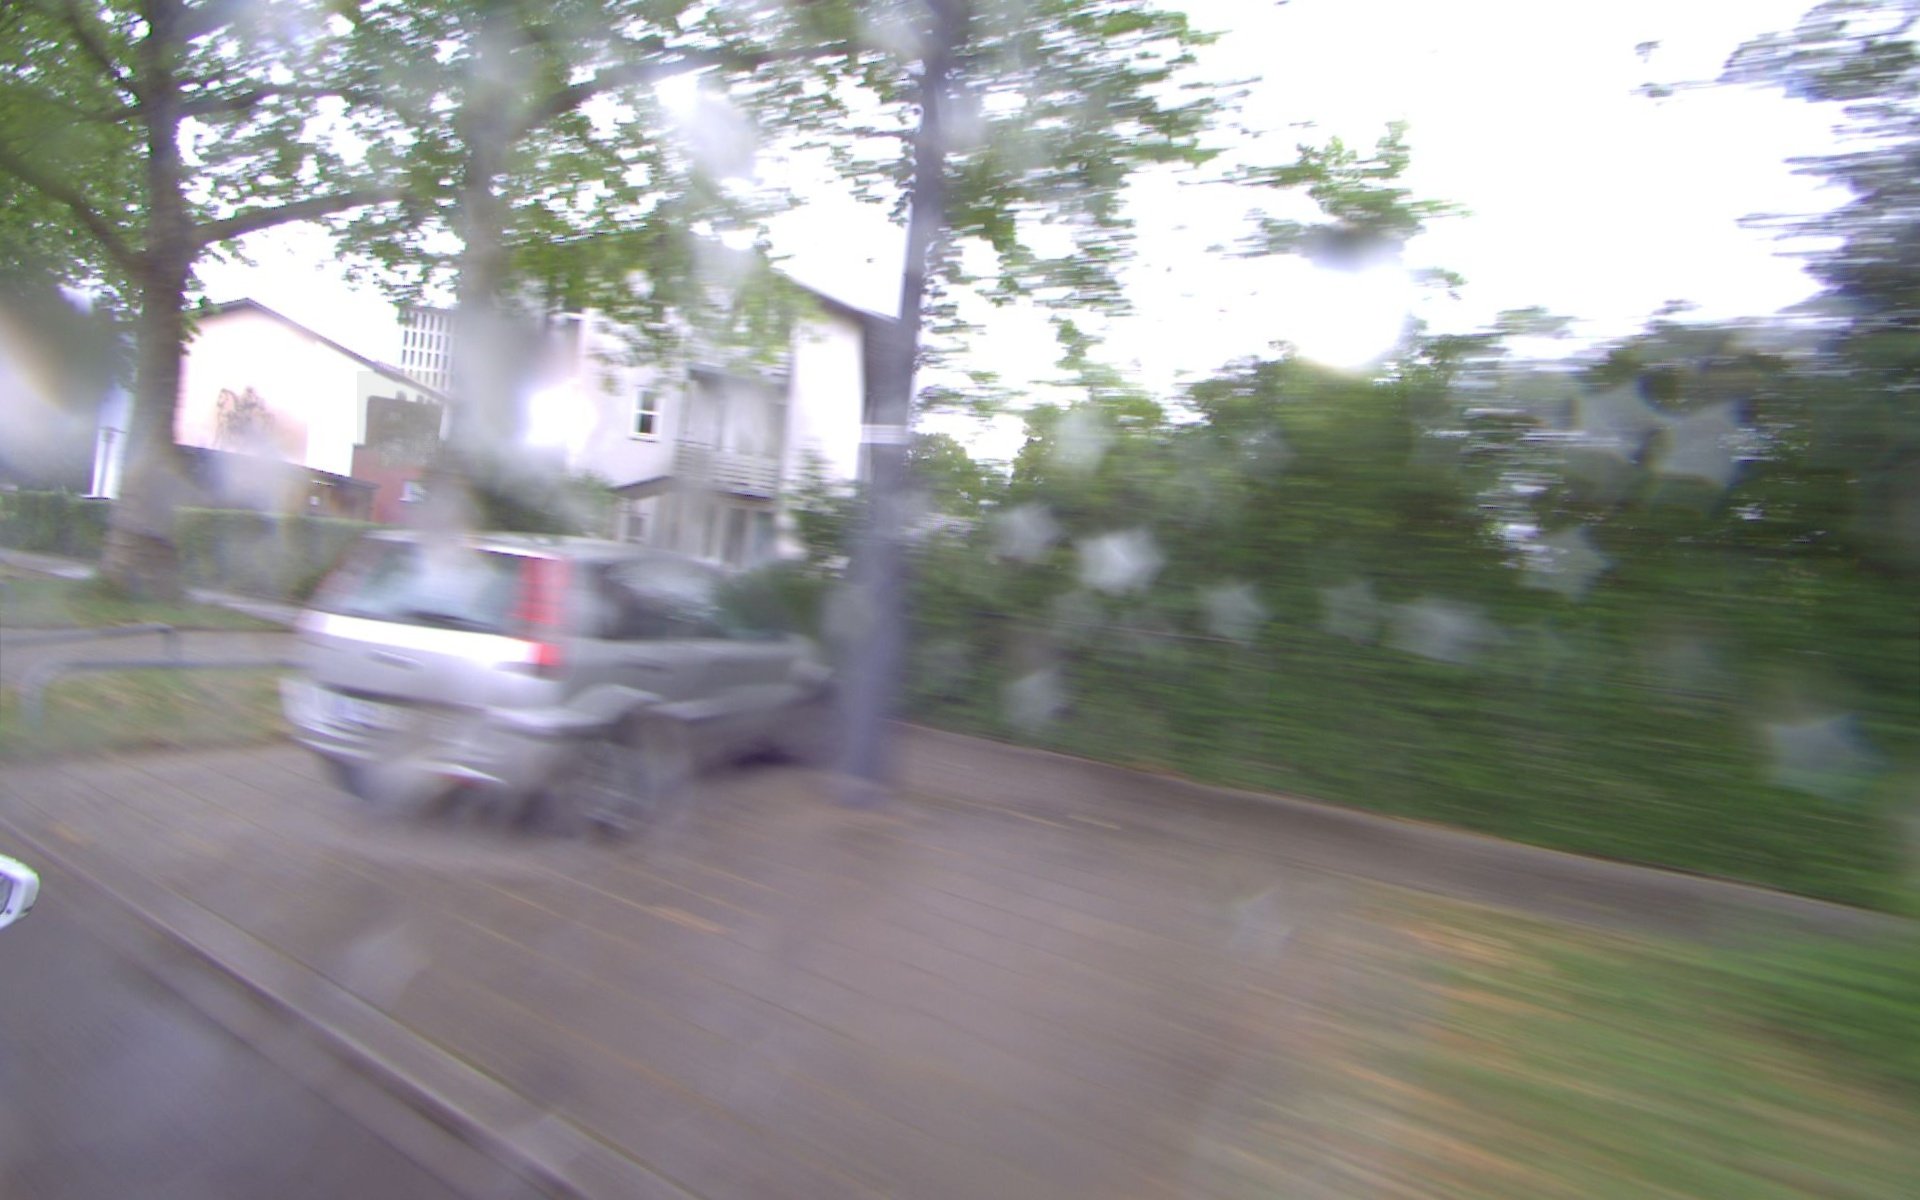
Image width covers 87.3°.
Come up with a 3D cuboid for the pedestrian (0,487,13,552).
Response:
[{"bbox_3d":[-23.683,-2.010,24.488,0.950,1.558,0.557,7,1,28],"label":"pedestrian"}]

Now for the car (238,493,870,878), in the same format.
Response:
[{"bbox_3d":[-2.138,0.379,6.513,1.589,1.587,3.865,7,2,18],"label":"car"}]
